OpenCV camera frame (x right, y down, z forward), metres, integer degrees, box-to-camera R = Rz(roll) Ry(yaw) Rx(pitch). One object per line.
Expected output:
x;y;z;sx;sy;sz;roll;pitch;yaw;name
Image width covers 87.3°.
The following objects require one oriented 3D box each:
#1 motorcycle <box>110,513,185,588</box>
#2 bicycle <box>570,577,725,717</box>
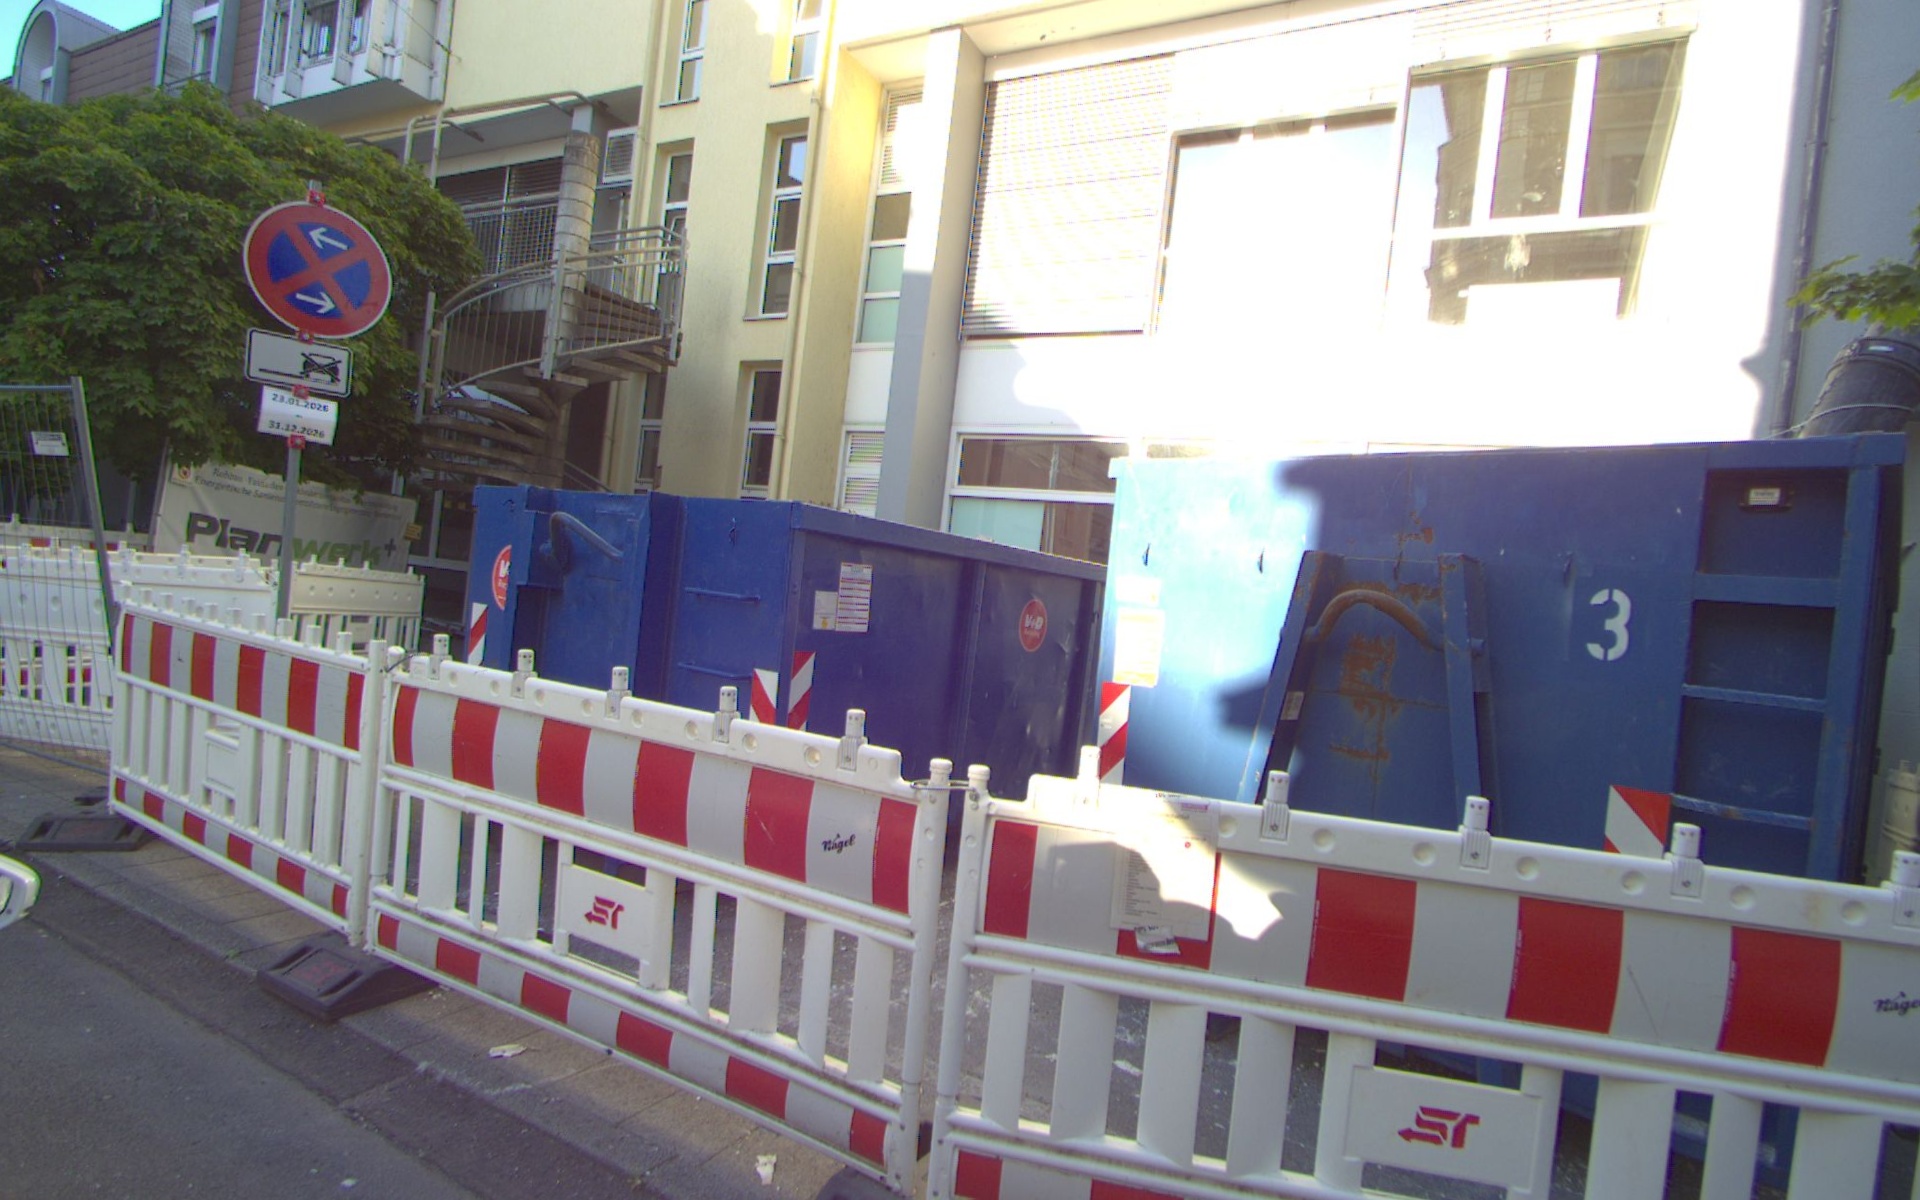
-15.213;-0.949;18.806;0.866;1.237;2.428;6;0;-43;motorcycle
-3.182;0.509;10.424;0.539;1.282;1.652;7;-2;18;bicycle
